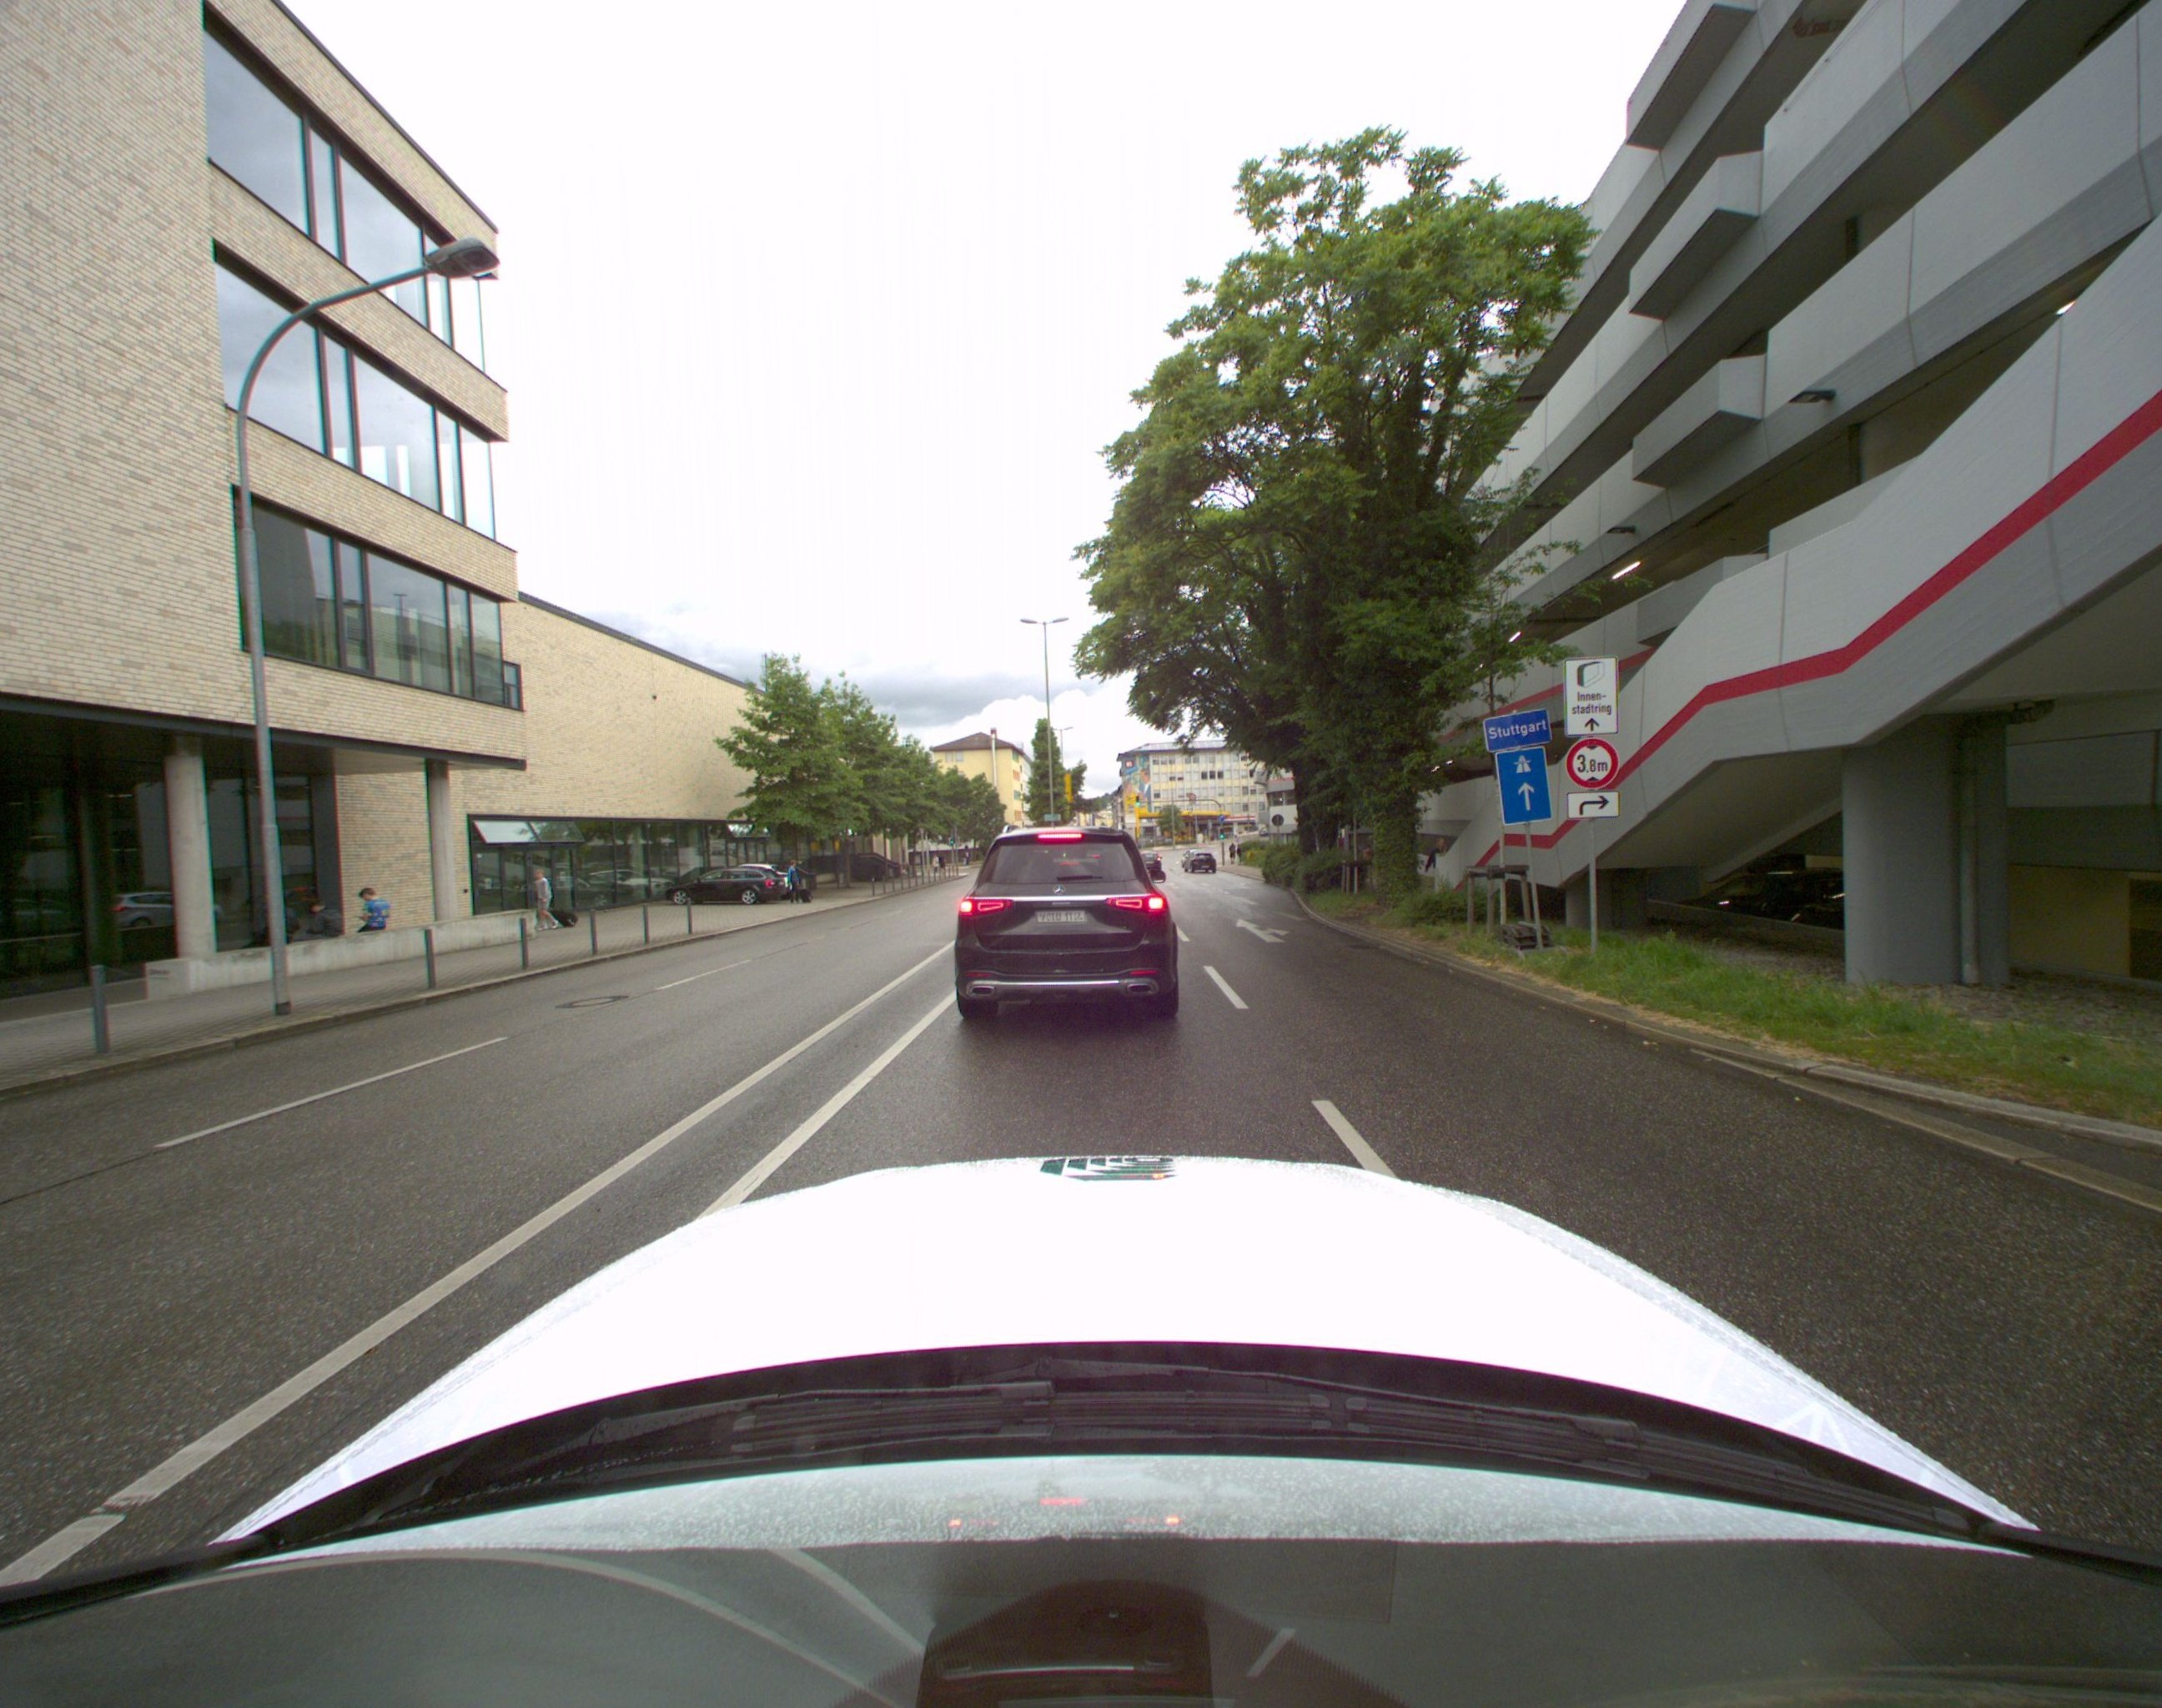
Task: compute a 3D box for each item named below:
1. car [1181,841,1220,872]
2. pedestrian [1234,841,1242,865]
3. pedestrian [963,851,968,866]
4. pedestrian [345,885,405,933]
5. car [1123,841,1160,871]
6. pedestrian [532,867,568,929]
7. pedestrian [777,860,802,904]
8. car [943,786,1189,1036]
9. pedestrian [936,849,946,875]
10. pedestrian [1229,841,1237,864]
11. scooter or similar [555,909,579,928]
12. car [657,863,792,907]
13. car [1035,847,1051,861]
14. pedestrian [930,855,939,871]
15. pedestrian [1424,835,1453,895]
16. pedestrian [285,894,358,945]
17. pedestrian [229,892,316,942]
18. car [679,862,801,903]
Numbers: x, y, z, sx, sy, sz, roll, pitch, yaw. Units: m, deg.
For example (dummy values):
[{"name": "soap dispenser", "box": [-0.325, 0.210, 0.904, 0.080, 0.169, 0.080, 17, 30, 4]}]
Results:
[{"name": "car", "box": [8.156, 0.133, 55.833, 1.987, 2.013, 3.999, -2, 0, 0]}, {"name": "pedestrian", "box": [12.587, -0.095, 65.307, 0.518, 1.911, 0.556, 0, -1, 1]}, {"name": "pedestrian", "box": [-12.294, 0.482, 86.684, 0.398, 1.644, 0.567, 0, -1, 2]}, {"name": "pedestrian", "box": [-13.492, 1.043, 15.573, 0.680, 0.886, 0.523, 0, -1, -5]}, {"name": "car", "box": [4.229, 0.158, 57.265, 1.990, 2.014, 3.993, 0, -1, -4]}, {"name": "pedestrian", "box": [-14.701, 1.206, 22.559, 0.673, 1.697, 0.479, 0, 0, 1]}, {"name": "pedestrian", "box": [-11.519, 1.101, 32.211, 0.686, 1.725, 0.754, 0, 1, 0]}, {"name": "car", "box": [-0.104, 0.477, 8.595, 1.987, 2.014, 4.000, 0, -1, 0]}, {"name": "pedestrian", "box": [-11.068, 0.602, 64.435, 0.586, 2.013, 0.749, -1, 1, 0]}, {"name": "pedestrian", "box": [12.969, -0.144, 69.658, 0.617, 1.935, 0.611, 0, -1, 7]}, {"name": "scooter or similar", "box": [-14.598, 1.828, 23.140, 0.279, 0.501, 0.616, 0, -1, 1]}, {"name": "car", "box": [-14.146, 1.203, 32.552, 4.461, 1.587, 1.997, -1, 0, -5]}, {"name": "car", "box": [-5.316, 0.070, 113.793, 1.987, 1.875, 5.141, 0, -1, 0]}, {"name": "pedestrian", "box": [-13.946, 0.844, 77.611, 0.709, 1.462, 0.598, 0, -1, 0]}, {"name": "pedestrian", "box": [9.218, 0.276, 21.023, 0.548, 1.532, 0.489, 0, -1, 8]}, {"name": "pedestrian", "box": [-13.483, 1.147, 14.474, 0.584, 0.845, 0.727, -1, -1, 1]}, {"name": "pedestrian", "box": [-13.453, 1.060, 13.569, 0.595, 0.786, 0.760, 0, -7, 1]}, {"name": "car", "box": [-14.705, 1.211, 35.297, 4.407, 1.574, 1.998, -1, 1, -4]}]
